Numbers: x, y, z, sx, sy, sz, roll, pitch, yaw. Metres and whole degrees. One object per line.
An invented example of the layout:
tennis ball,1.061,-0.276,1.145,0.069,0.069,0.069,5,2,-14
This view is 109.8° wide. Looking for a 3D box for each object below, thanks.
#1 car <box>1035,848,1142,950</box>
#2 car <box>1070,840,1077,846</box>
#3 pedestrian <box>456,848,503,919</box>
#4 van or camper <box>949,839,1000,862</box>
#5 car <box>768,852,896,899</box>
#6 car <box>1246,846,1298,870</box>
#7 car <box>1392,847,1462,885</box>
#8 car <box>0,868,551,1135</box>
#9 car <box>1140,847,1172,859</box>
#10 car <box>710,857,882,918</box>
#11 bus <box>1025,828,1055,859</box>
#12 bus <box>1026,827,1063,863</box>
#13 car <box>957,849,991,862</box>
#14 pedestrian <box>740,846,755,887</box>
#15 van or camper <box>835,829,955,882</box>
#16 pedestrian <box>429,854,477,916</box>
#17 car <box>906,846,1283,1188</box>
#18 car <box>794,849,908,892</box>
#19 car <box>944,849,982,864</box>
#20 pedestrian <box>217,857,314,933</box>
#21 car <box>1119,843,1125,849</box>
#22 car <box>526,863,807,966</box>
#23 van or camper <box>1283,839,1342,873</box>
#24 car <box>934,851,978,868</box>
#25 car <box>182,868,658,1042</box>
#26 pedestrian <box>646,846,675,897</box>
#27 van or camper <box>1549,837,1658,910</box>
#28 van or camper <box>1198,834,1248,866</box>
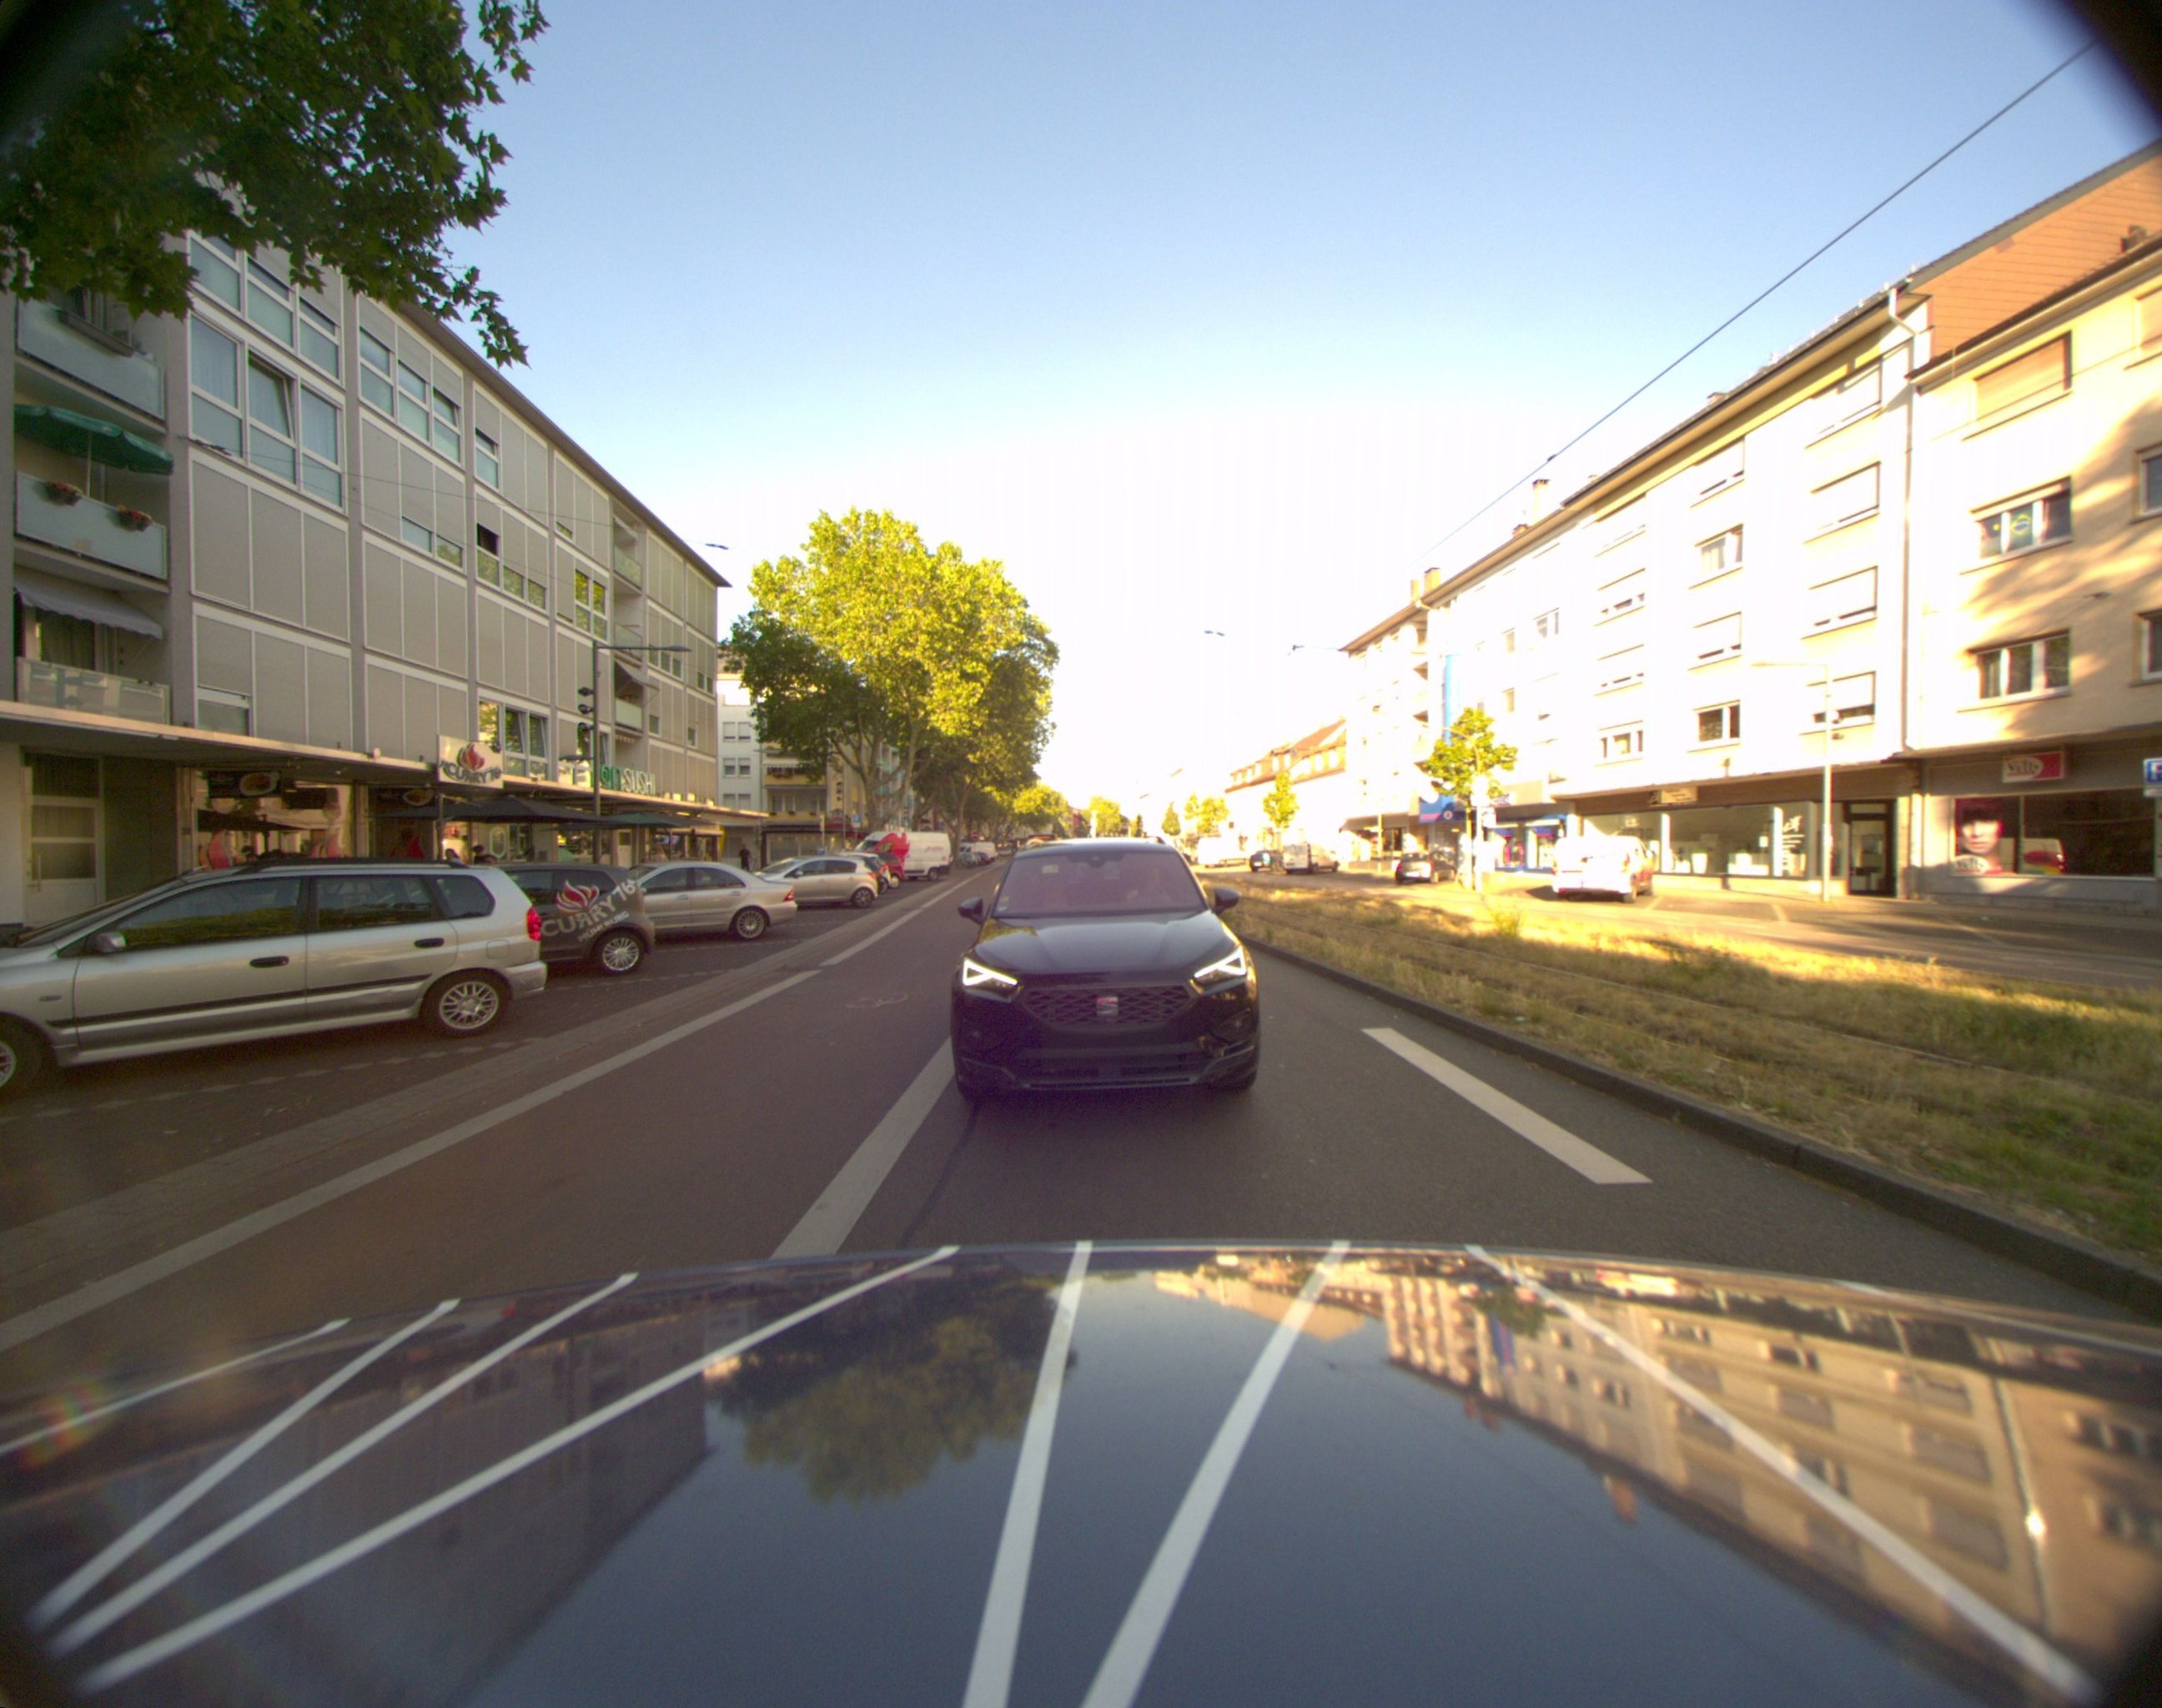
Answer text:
car,0.066,0.681,13.823,1.659,1.571,3.999,0,1,-1
car,-1.913,-2.791,189.495,1.740,1.539,3.999,0,1,0
pedestrian,-13.864,0.662,17.537,0.538,1.582,0.686,2,1,-5
van or camper,-11.827,-0.371,84.762,1.994,2.455,5.474,1,1,44
car,-8.792,0.698,27.013,4.008,1.514,1.654,0,2,-44
car,13.751,0.287,54.649,1.874,1.577,4.008,-1,1,43
car,15.625,0.513,34.223,1.765,1.482,4.460,-1,1,39
car,-6.911,0.961,6.090,1.804,1.597,4.008,1,1,38
car,10.166,-0.190,103.189,3.921,1.482,1.766,-3,1,-27
car,-7.613,0.829,20.505,4.008,1.428,1.654,0,2,-44
bus,-4.535,-1.190,82.153,2.873,2.962,12.231,-2,2,-5
bus,-3.504,-0.906,70.013,2.873,2.962,12.231,-2,2,-5
car,-11.391,0.167,81.271,3.337,1.339,1.526,0,2,-44
pedestrian,-16.570,0.626,37.794,0.552,2.002,0.576,-3,1,-18
van or camper,-9.111,0.055,37.606,5.474,2.455,1.994,-1,1,-44
pedestrian,-14.455,0.703,17.498,0.538,1.392,0.686,2,1,-5
car,0.097,0.791,5.766,1.808,1.638,3.999,-2,1,1
car,-9.097,0.614,30.207,4.008,1.555,1.654,0,2,-44
car,-11.481,0.252,74.018,3.337,1.339,1.526,0,2,-44
pedestrian,-15.158,0.742,14.154,0.750,1.354,0.962,0,1,0
car,12.845,-2.434,236.816,1.869,1.832,3.826,0,1,2
car,-7.126,0.934,13.361,1.654,1.428,4.008,2,2,43
van or camper,14.586,0.111,47.788,1.795,1.978,4.460,-1,1,41
car,-10.554,0.472,64.229,3.337,1.339,1.526,0,2,-44
car,-7.574,0.962,9.073,1.804,1.498,4.008,1,1,38
pedestrian,-13.396,0.538,24.203,0.538,1.582,0.686,2,1,-5
van or camper,15.833,0.506,22.893,1.946,1.887,4.824,-1,1,43
van or camper,12.908,-0.407,68.555,1.994,2.652,6.410,-1,1,34
